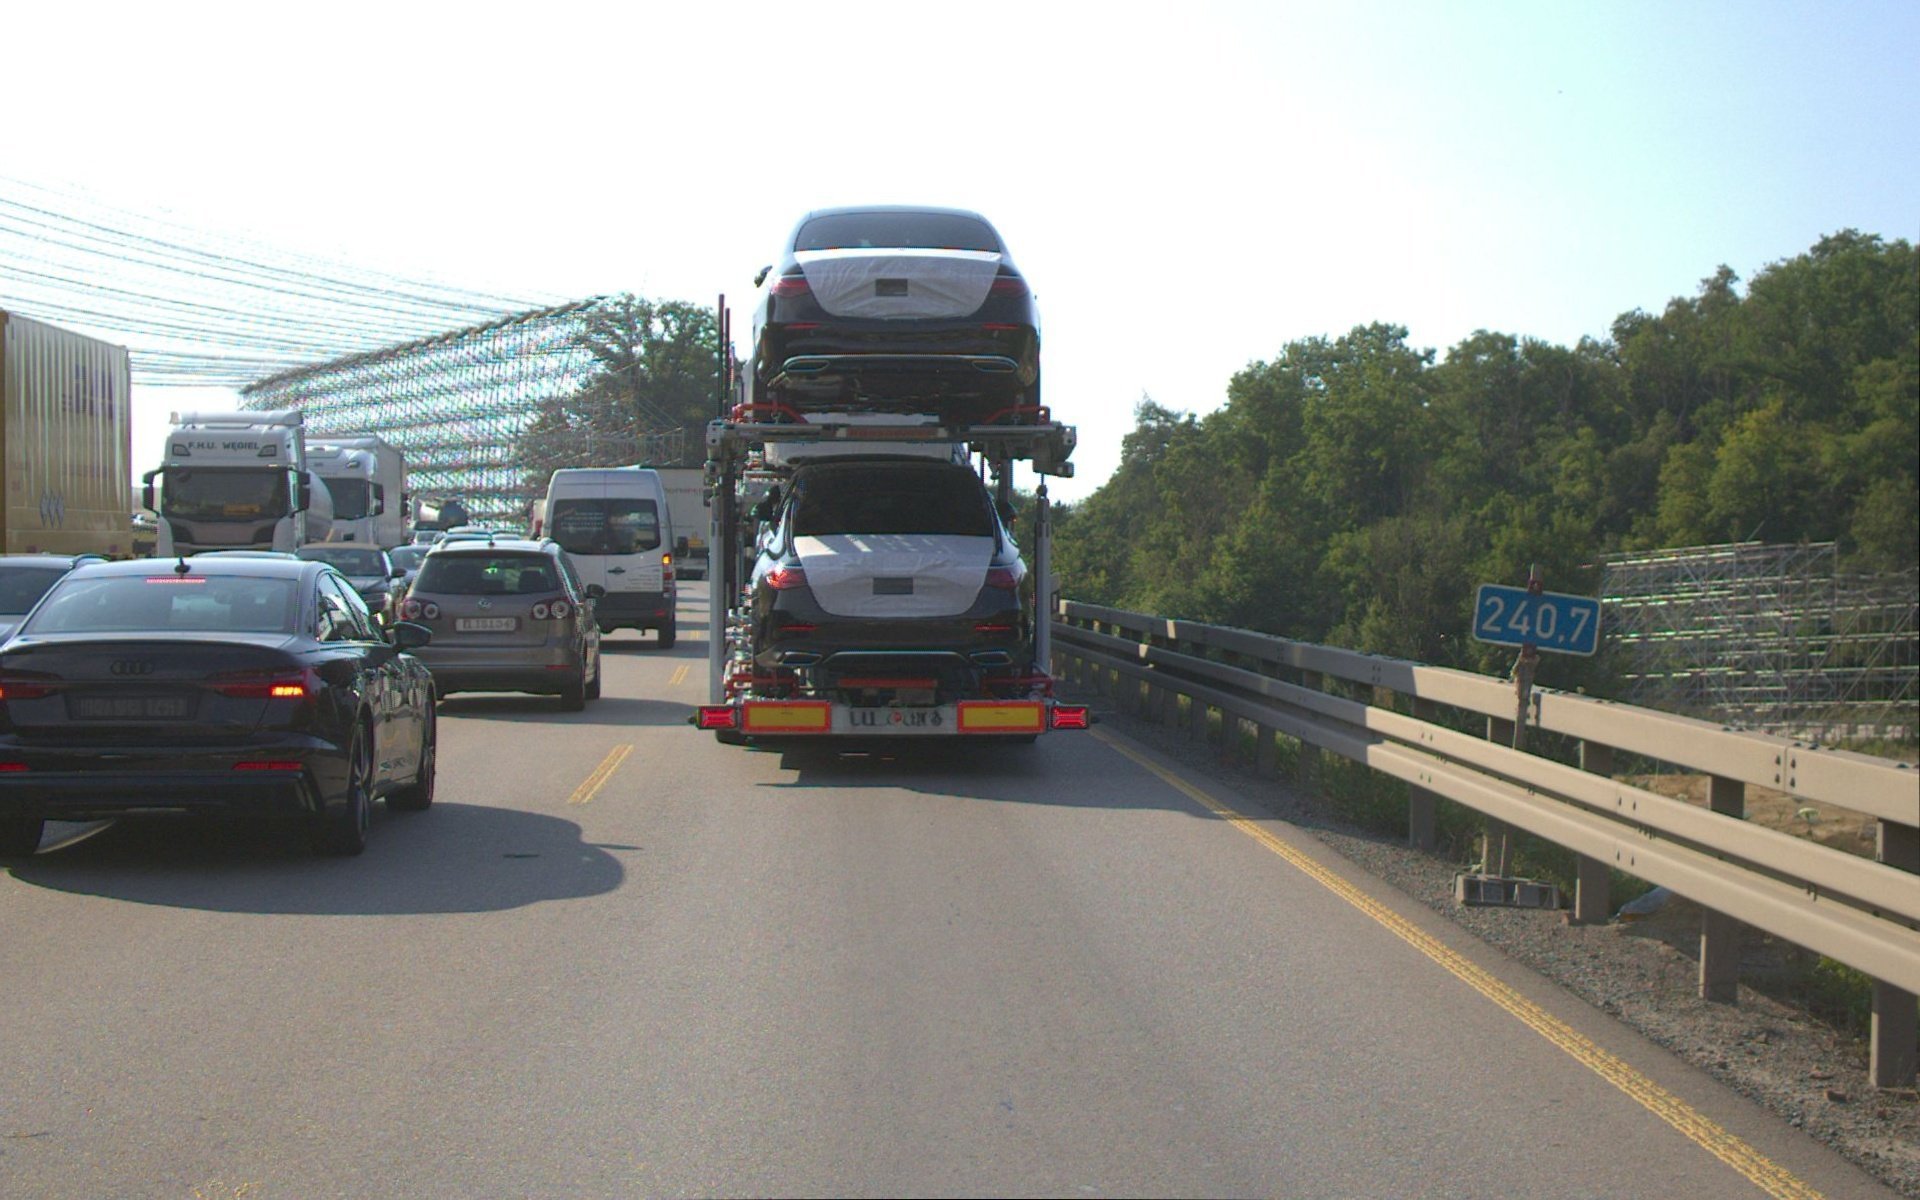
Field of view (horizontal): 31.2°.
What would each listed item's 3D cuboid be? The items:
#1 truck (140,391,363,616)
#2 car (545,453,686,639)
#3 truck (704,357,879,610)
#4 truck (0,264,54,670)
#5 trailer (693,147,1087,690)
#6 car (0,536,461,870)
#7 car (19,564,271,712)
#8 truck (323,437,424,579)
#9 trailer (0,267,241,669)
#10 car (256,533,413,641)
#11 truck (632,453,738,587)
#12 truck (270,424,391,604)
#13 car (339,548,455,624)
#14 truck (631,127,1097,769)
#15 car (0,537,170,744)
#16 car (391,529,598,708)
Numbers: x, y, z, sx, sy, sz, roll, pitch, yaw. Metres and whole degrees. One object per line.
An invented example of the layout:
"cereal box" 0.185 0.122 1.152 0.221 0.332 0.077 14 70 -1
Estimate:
"truck" -13.866 -1.717 68.370 2.808 3.956 13.896 1 0 -6
"car" -5.128 -0.778 51.614 1.979 2.675 4.147 0 0 -4
"truck" -3.468 -2.292 69.258 3.228 4.661 11.697 0 1 -4
"truck" -11.257 -1.365 35.834 2.693 4.182 4.399 0 0 -4
"trailer" -0.982 -1.347 32.927 2.874 3.980 15.281 0 0 -4
"car" -3.866 0.451 18.095 1.940 1.475 5.222 -1 0 -3
"car" -8.551 0.373 36.415 1.797 1.448 4.616 0 0 -3
"truck" -18.141 -2.796 106.603 2.893 4.257 5.773 0 0 -8
"trailer" -11.731 -1.373 43.788 2.701 4.189 15.999 0 0 -3
"car" -9.138 -0.188 50.500 1.716 1.503 4.292 0 0 -3
"truck" -9.965 -2.932 125.627 3.648 4.661 11.697 0 1 -4
"truck" -15.406 -2.039 84.485 2.443 4.257 6.323 0 0 -6
"car" -10.915 -0.266 66.885 1.739 1.397 4.903 0 0 -4
"truck" -0.597 -0.947 24.262 2.870 3.966 5.771 0 0 0
"car" -7.589 0.295 27.087 1.788 1.492 4.725 0 0 -2
"car" -4.368 0.165 32.735 1.700 1.581 4.147 0 0 -4
